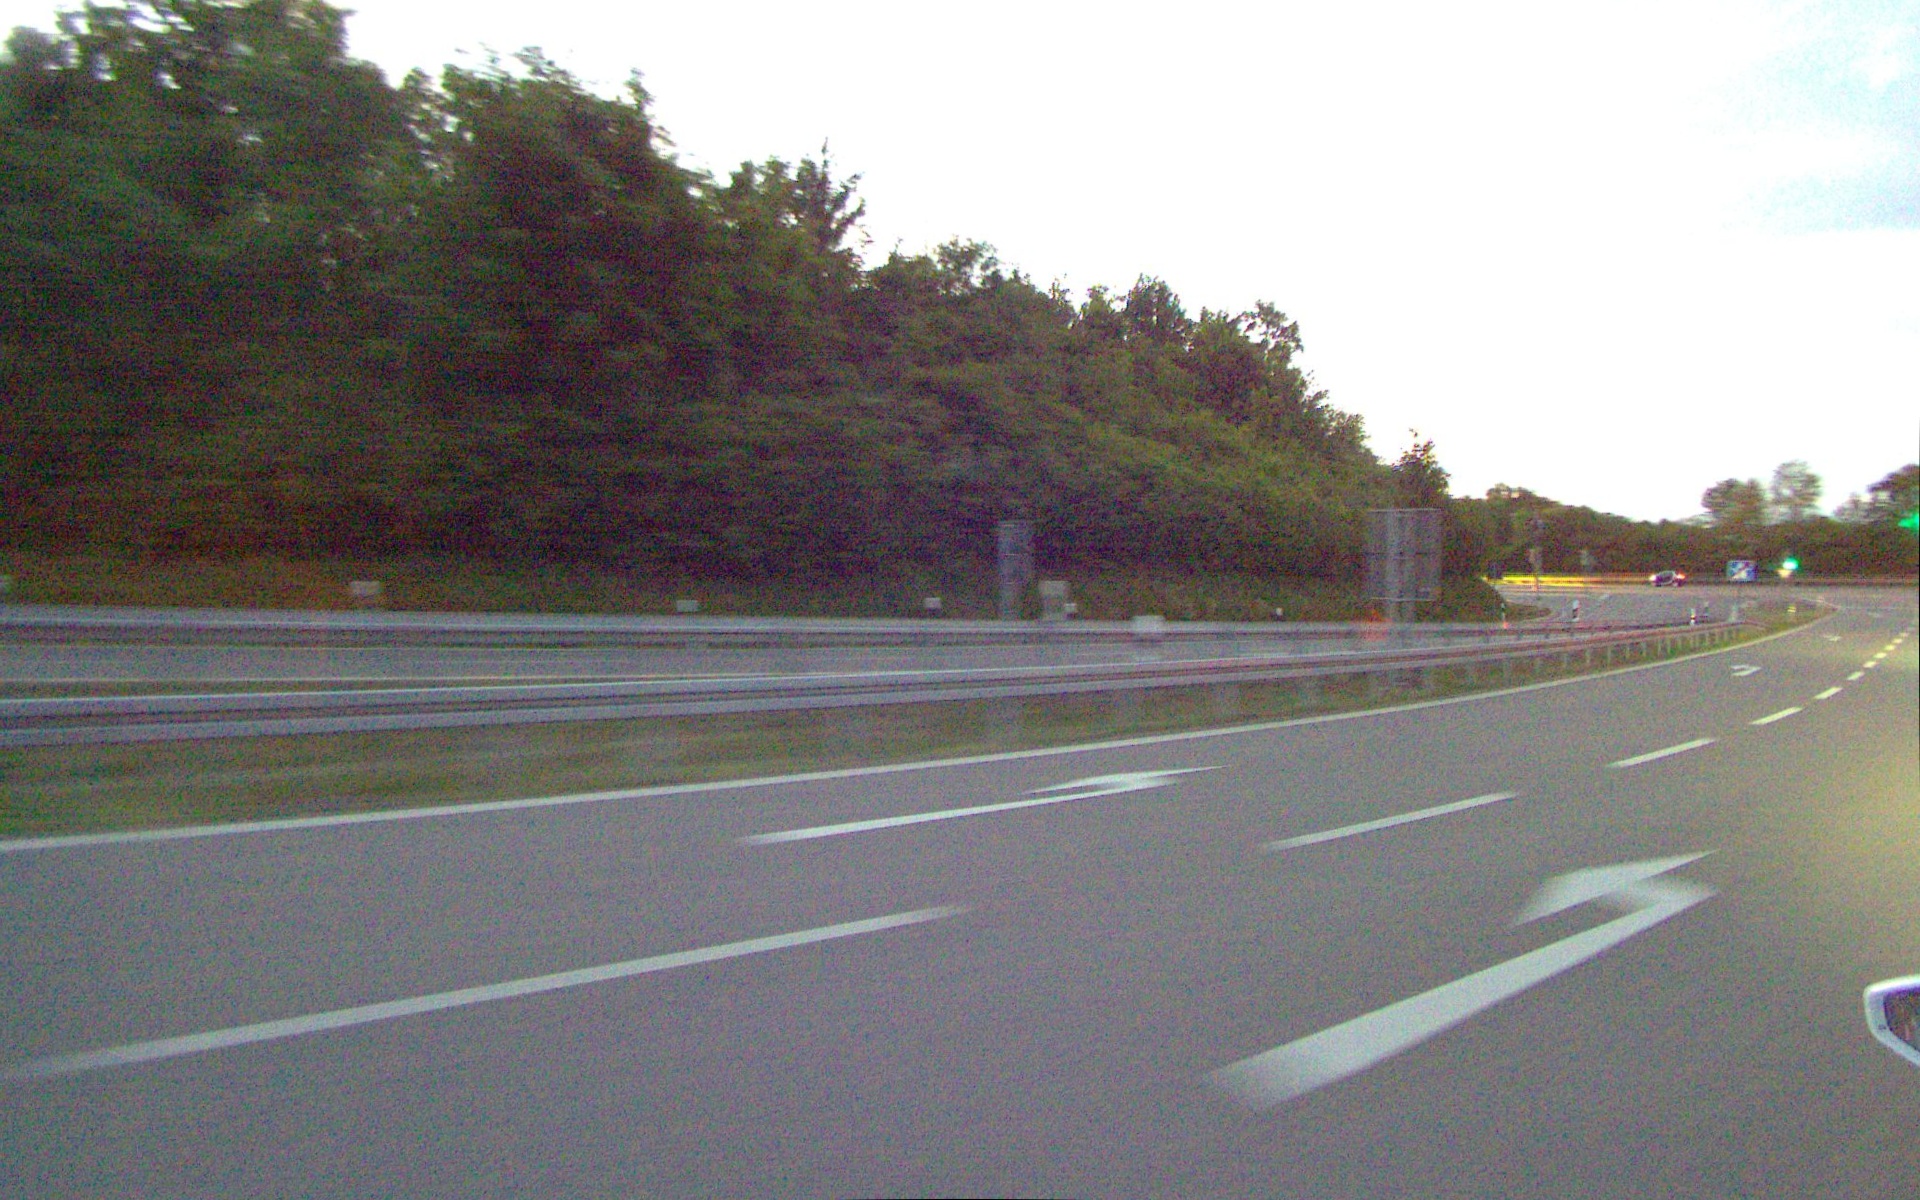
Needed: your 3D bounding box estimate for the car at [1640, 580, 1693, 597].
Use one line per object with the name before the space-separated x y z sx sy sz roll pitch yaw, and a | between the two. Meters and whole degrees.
car | 67.610 -1.135 96.206 3.930 1.473 1.995 3 2 32
